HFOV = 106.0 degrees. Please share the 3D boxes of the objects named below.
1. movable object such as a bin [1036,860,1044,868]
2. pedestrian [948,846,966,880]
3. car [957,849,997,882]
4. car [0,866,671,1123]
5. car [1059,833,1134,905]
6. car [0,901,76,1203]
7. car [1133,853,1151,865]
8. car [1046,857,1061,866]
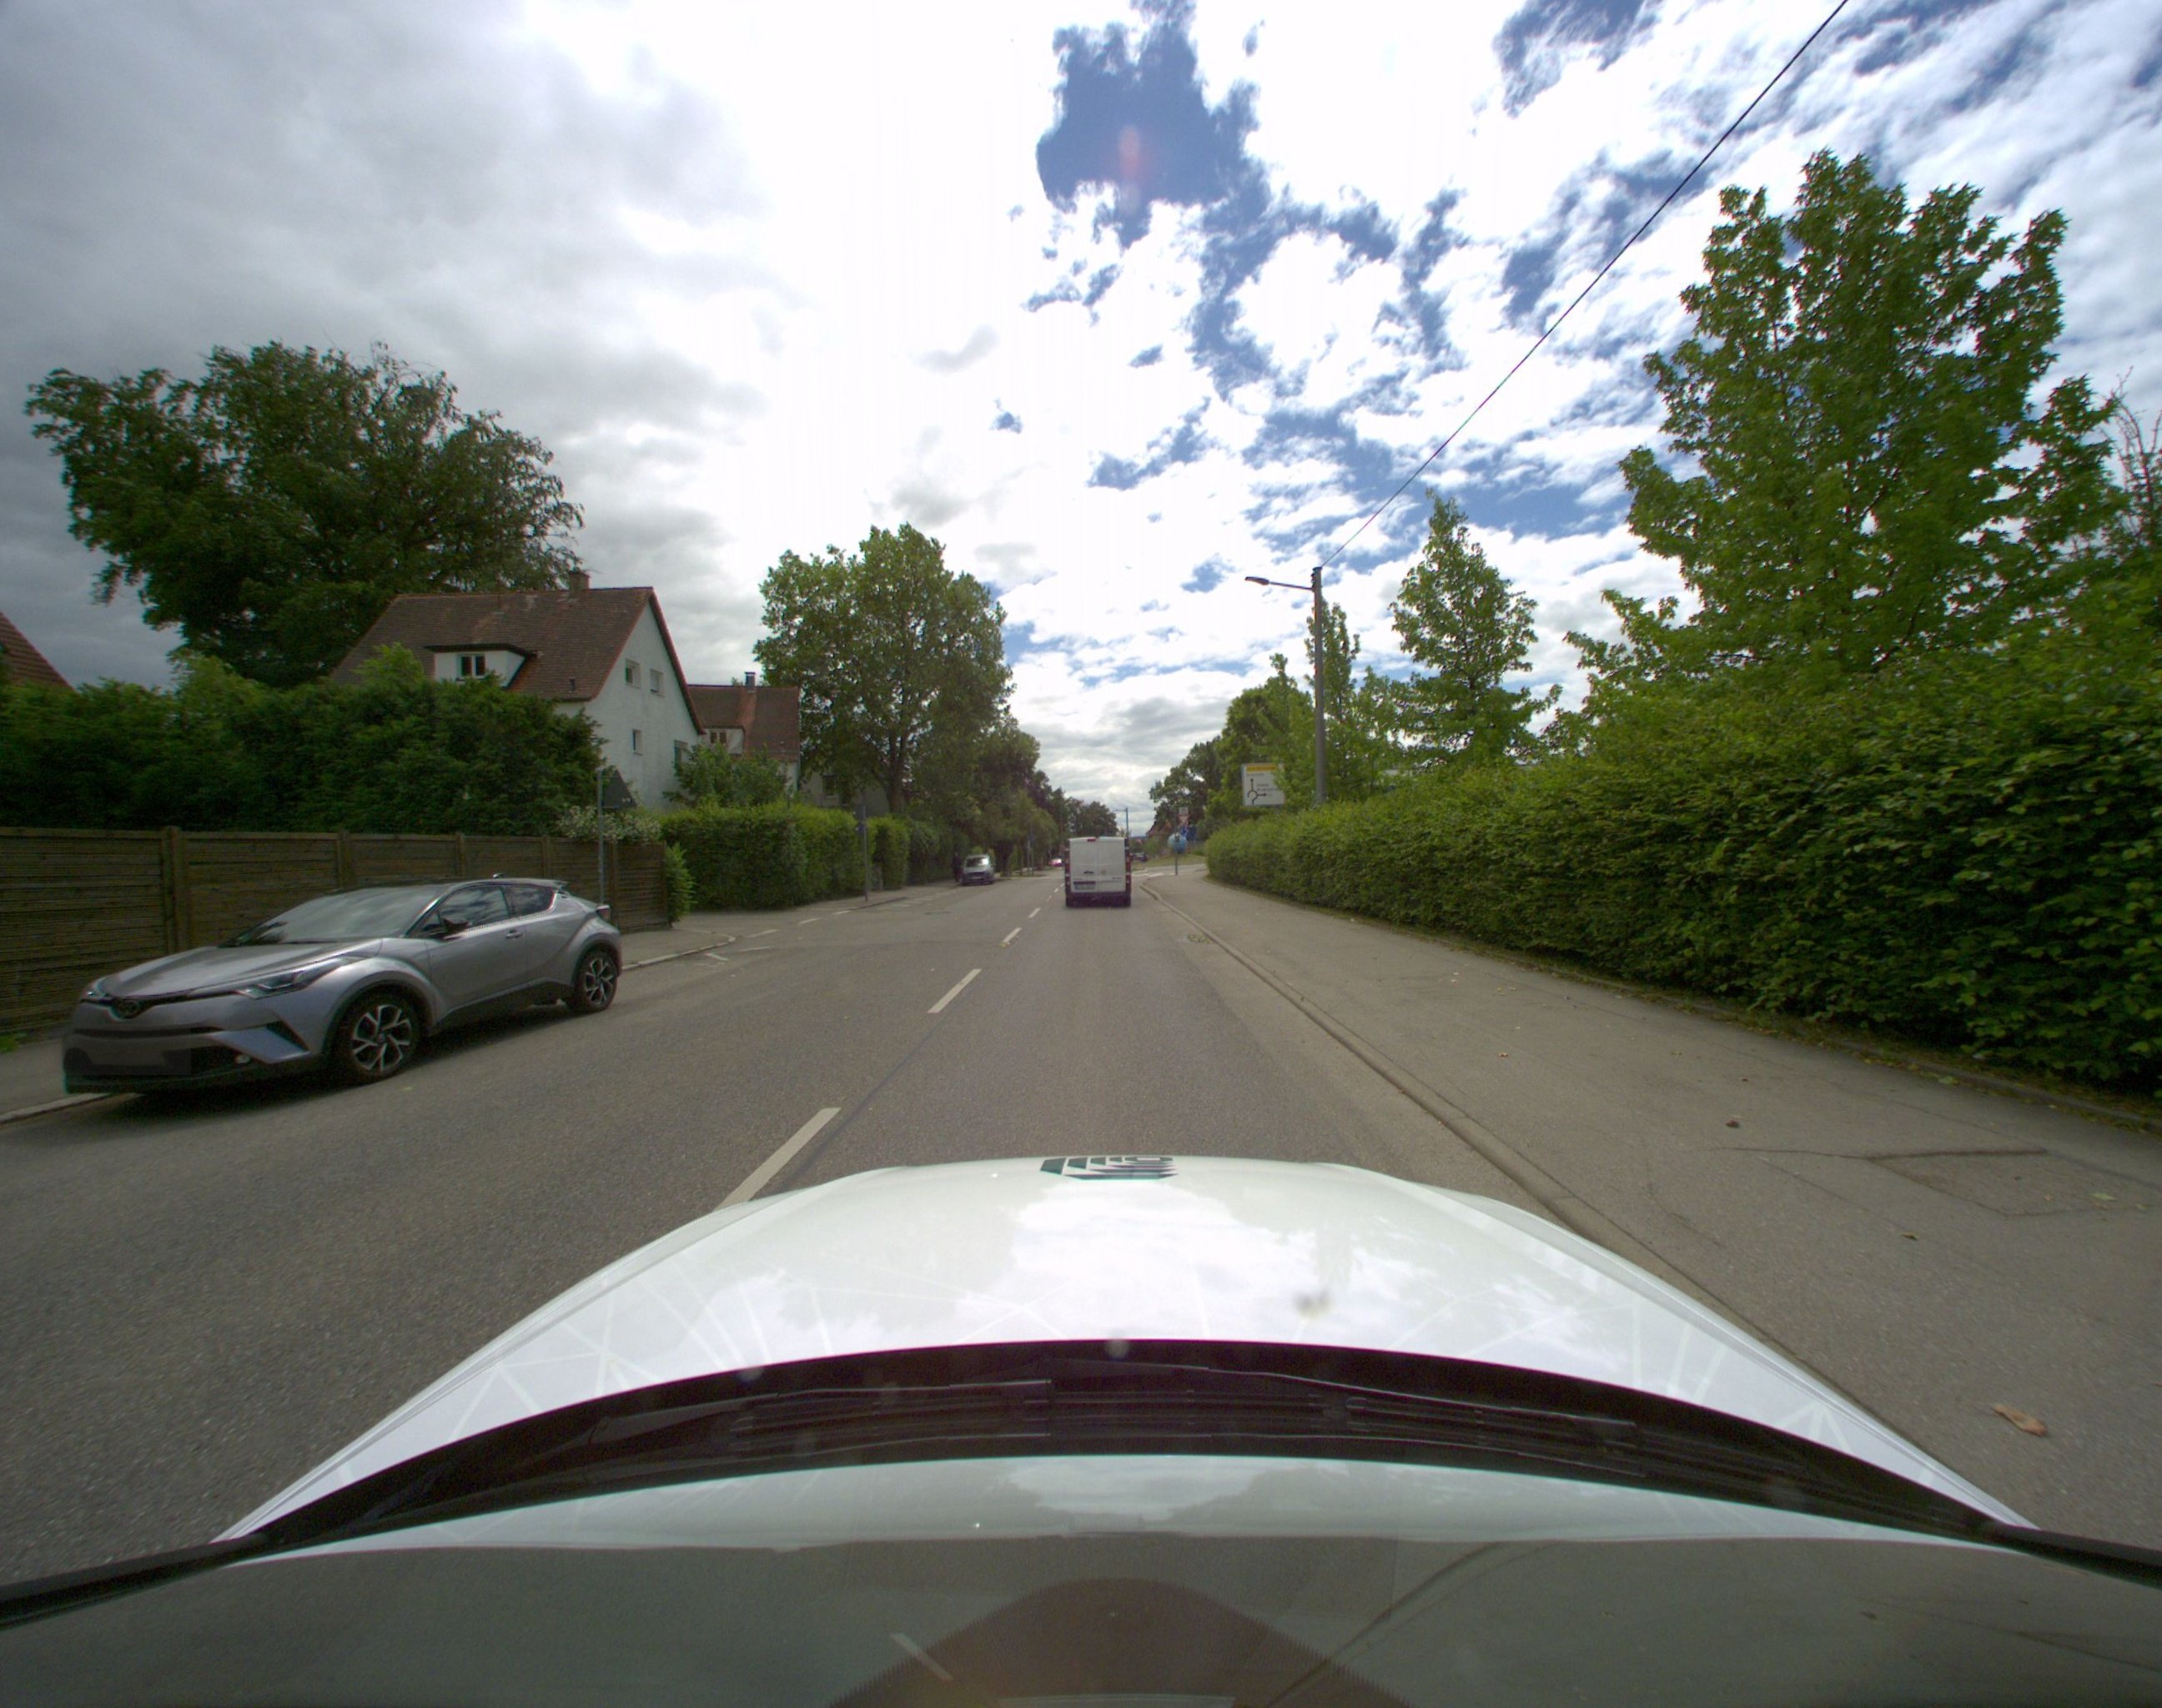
[{"bbox_3d":[-4.471,1.110,88.604,0.625,0.863,0.642,-3,0,12],"label":"movable object such as a bin"},{"bbox_3d":[-7.534,0.554,49.344,0.870,2.013,1.040,-3,0,-3],"label":"pedestrian"},{"bbox_3d":[-5.858,0.624,46.428,2.129,1.772,4.456,0,1,-6],"label":"car"},{"bbox_3d":[-6.157,0.958,7.583,1.984,1.479,4.652,-3,0,4],"label":"car"},{"bbox_3d":[0.504,0.390,24.579,2.027,1.945,4.996,0,1,2],"label":"car"},{"bbox_3d":[-6.344,1.017,2.058,1.859,1.459,4.493,-2,0,3],"label":"car"},{"bbox_3d":[8.178,0.673,109.655,1.928,1.537,3.920,-2,1,-3],"label":"car"},{"bbox_3d":[-4.599,1.177,136.007,2.061,1.386,4.036,-2,1,-8],"label":"car"}]
